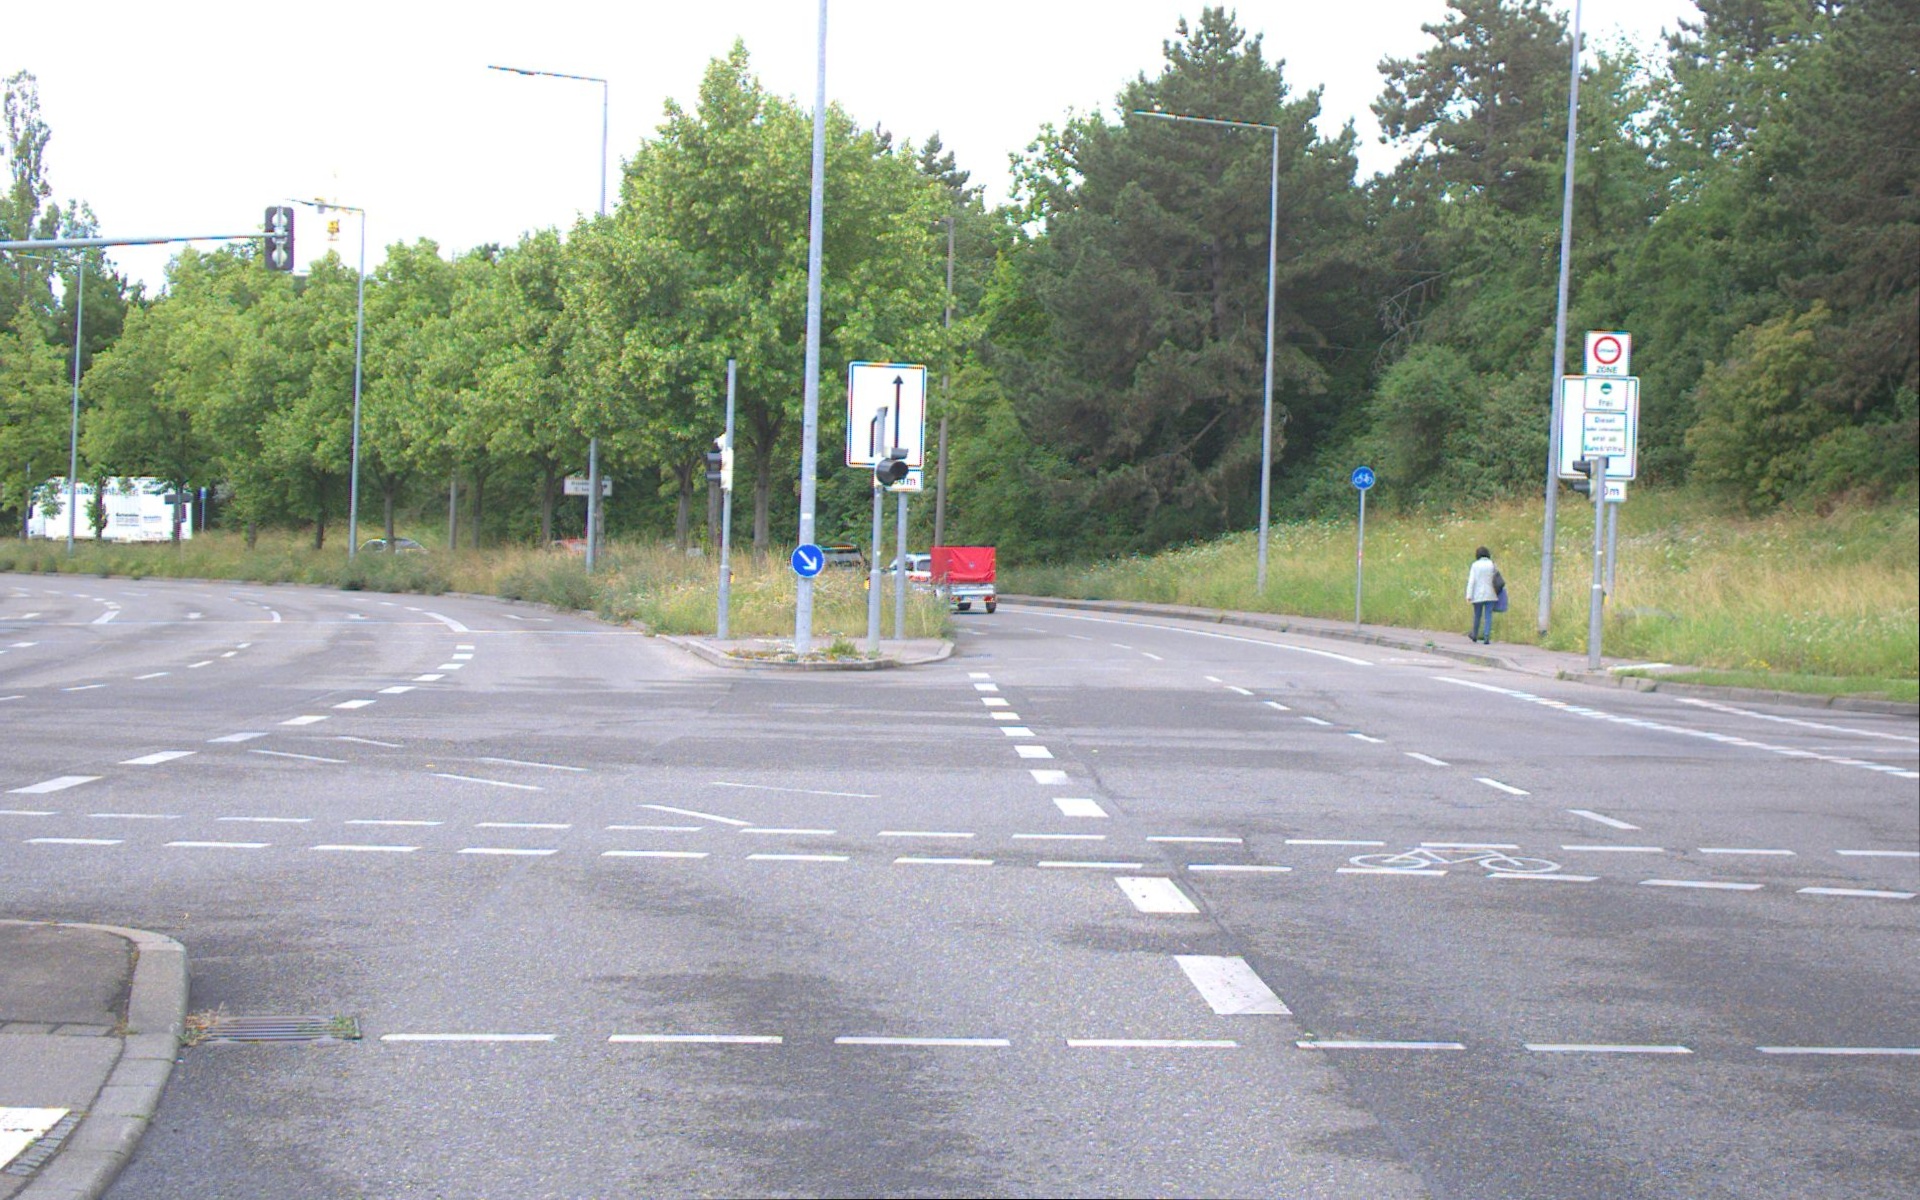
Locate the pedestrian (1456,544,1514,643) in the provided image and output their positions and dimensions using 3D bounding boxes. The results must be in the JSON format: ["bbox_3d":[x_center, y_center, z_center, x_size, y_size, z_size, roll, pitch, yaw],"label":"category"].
[{"bbox_3d":[8.786,-0.114,57.574,0.814,1.622,0.791,1,1,-1],"label":"pedestrian"}]

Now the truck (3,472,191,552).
[{"bbox_3d":[-37.496,-3.837,148.998,2.741,3.317,11.401,0,2,-43],"label":"truck"}]

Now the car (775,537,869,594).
[{"bbox_3d":[-3.967,-1.008,98.276,1.777,1.541,4.026,0,1,-15],"label":"car"}]

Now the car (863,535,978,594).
[{"bbox_3d":[-1.038,-0.917,87.978,1.777,1.416,4.460,0,1,-16],"label":"car"}]

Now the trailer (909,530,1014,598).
[{"bbox_3d":[0.016,-0.892,84.381,1.764,1.610,3.045,0,1,-16],"label":"trailer"}]
